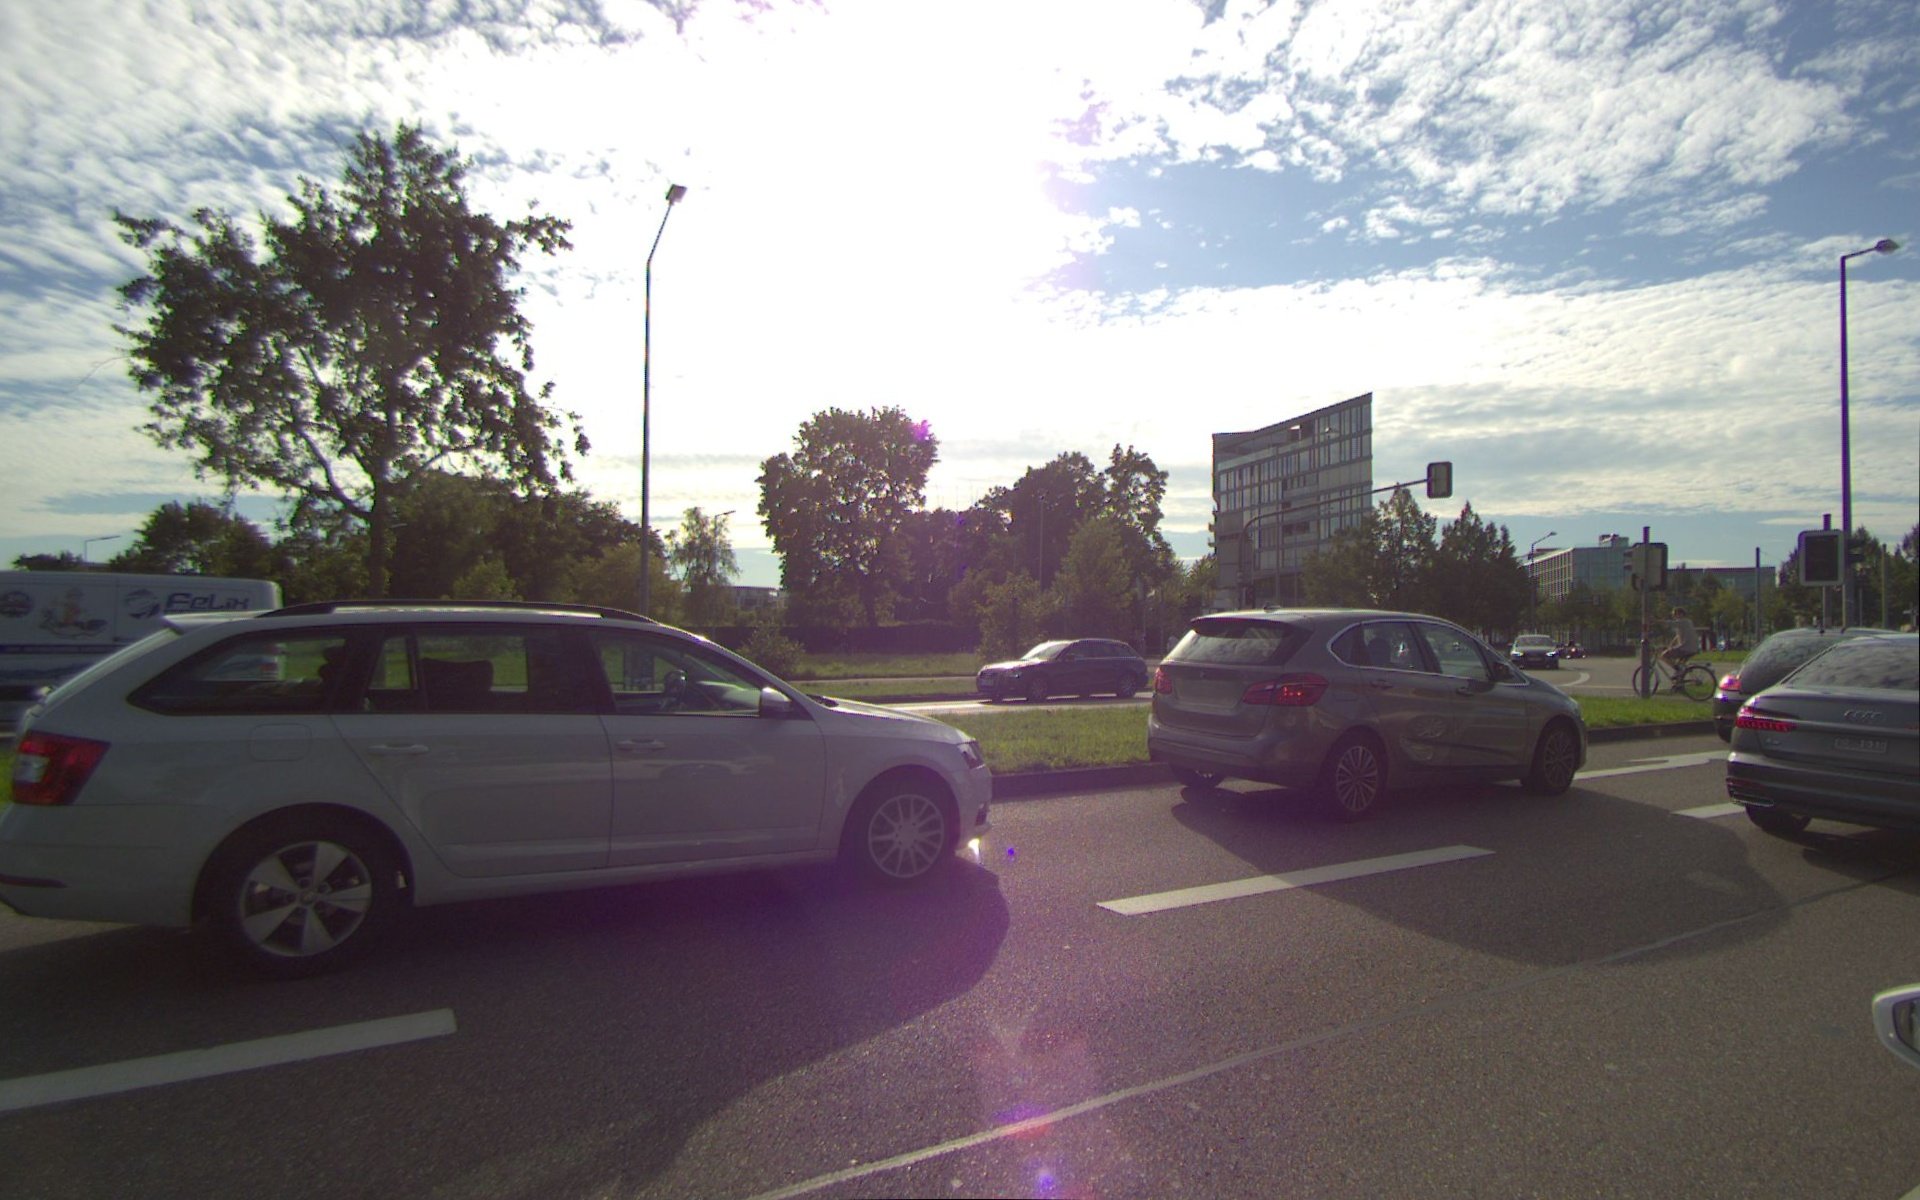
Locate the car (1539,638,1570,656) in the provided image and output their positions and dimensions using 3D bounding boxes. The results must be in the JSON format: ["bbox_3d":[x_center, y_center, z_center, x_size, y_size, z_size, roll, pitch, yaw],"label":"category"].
[{"bbox_3d":[60.463,4.765,102.193,1.678,1.713,4.002,0,-2,16],"label":"car"}]

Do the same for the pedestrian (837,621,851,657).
[{"bbox_3d":[-6.671,2.252,57.780,0.723,2.040,0.739,0,-2,-6],"label":"pedestrian"}]

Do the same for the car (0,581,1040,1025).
[{"bbox_3d":[-1.887,0.764,5.251,4.429,1.518,1.690,2,-1,-31],"label":"car"}]

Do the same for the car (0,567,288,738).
[{"bbox_3d":[-13.084,0.752,14.211,5.861,2.264,1.982,2,-4,-33],"label":"car"}]

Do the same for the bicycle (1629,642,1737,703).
[{"bbox_3d":[14.698,1.451,20.456,1.707,1.179,0.652,-1,-2,45],"label":"bicycle"}]

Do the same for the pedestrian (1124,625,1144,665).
[{"bbox_3d":[7.207,1.859,41.654,0.581,1.602,0.580,4,2,24],"label":"pedestrian"}]

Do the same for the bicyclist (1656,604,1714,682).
[{"bbox_3d":[14.758,0.871,20.442,0.840,1.546,0.736,-2,-3,44],"label":"bicyclist"}]

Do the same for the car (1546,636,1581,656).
[{"bbox_3d":[49.910,3.776,83.025,1.767,1.595,3.978,-2,-3,42],"label":"car"}]

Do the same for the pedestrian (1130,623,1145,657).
[{"bbox_3d":[10.768,2.450,60.890,0.863,2.040,0.936,0,-2,8],"label":"pedestrian"}]

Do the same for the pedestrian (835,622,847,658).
[{"bbox_3d":[-6.753,2.274,56.942,0.675,2.040,0.641,0,-2,-5],"label":"pedestrian"}]

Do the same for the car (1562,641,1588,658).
[{"bbox_3d":[55.861,4.489,91.201,1.572,1.433,3.656,0,-4,38],"label":"car"}]

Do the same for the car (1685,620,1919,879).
[{"bbox_3d":[7.454,0.952,7.301,4.559,1.502,1.881,2,-1,-31],"label":"car"}]

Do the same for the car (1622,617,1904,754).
[{"bbox_3d":[10.557,1.033,13.157,3.766,1.543,1.672,2,-1,-31],"label":"car"}]

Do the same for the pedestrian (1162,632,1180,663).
[{"bbox_3d":[10.892,2.433,51.842,0.607,1.589,0.653,1,-2,-22],"label":"pedestrian"}]

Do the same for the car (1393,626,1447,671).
[{"bbox_3d":[19.002,1.968,41.608,1.678,1.793,4.000,0,-2,20],"label":"car"}]

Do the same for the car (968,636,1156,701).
[{"bbox_3d":[2.463,1.625,24.057,4.178,1.452,1.900,1,-5,-30],"label":"car"}]

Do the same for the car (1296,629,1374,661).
[{"bbox_3d":[19.405,2.361,52.102,1.581,1.613,3.460,1,-3,-41],"label":"car"}]

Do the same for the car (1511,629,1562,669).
[{"bbox_3d":[24.550,2.052,42.700,1.682,1.594,3.990,-1,-2,33],"label":"car"}]

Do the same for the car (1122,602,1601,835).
[{"bbox_3d":[3.485,0.859,8.571,3.971,1.579,1.721,2,-1,-30],"label":"car"}]
